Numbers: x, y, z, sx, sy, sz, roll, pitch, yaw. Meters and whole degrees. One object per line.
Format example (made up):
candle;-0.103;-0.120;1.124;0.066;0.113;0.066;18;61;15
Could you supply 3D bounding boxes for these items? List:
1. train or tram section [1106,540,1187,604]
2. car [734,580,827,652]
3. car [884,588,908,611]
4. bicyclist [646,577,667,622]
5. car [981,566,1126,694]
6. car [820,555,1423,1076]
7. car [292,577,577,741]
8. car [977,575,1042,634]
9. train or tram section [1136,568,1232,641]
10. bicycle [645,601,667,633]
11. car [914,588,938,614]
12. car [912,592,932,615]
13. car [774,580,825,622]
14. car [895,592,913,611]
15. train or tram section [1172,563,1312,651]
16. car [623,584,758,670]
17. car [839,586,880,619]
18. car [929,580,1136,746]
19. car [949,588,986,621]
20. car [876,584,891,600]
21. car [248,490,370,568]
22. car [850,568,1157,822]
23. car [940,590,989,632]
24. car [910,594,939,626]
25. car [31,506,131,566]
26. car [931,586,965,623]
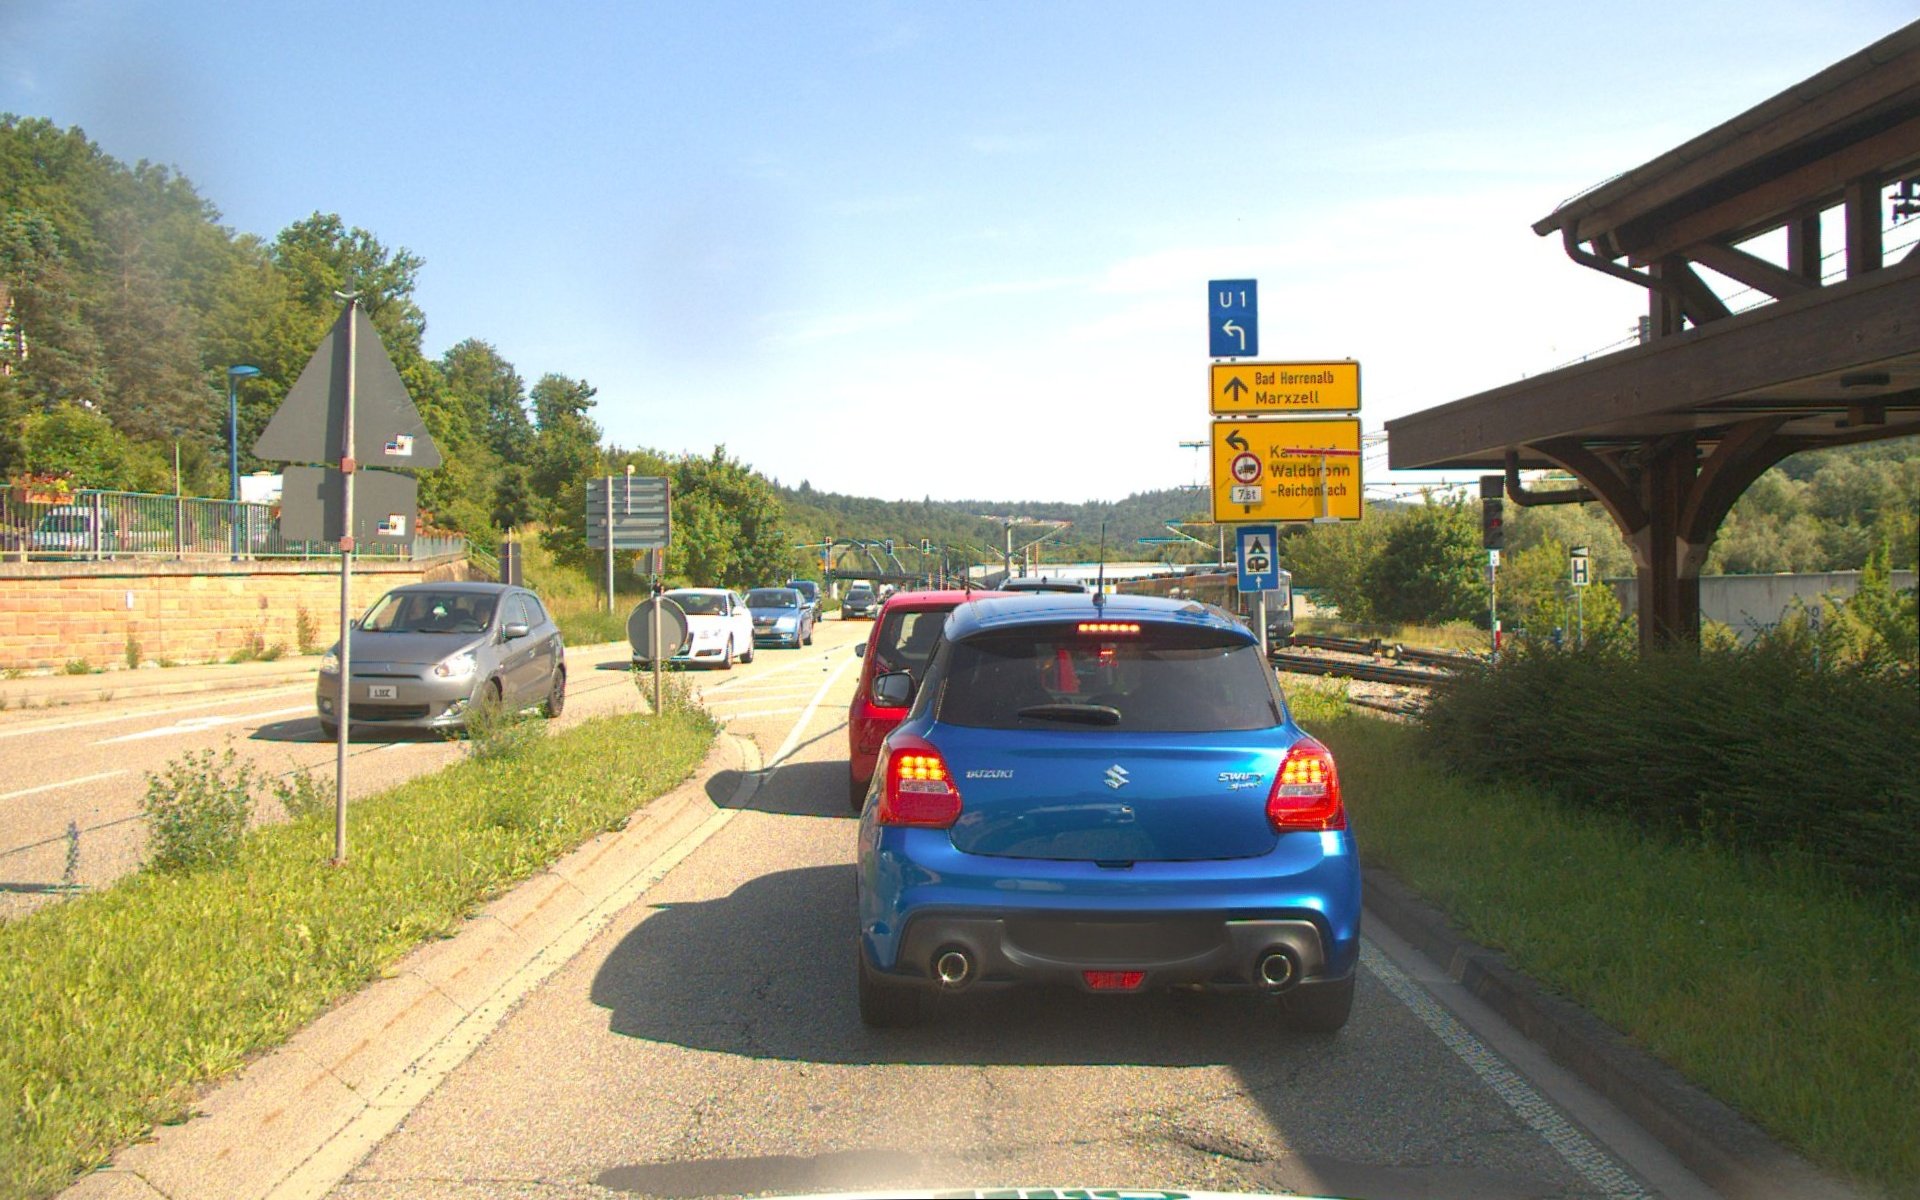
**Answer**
train or tram section;10.832;-1.550;97.334;2.701;3.423;12.041;2;0;-3
car;-4.368;0.352;40.717;1.795;1.493;3.812;2;3;1
car;-5.413;-0.044;140.026;1.953;1.814;3.999;1;0;-1
bicyclist;-10.690;-0.018;58.292;0.617;1.533;0.505;2;1;-4
car;1.322;0.395;25.177;1.952;1.716;4.497;2;1;1
car;0.446;0.642;7.033;1.830;1.575;3.999;1;0;-2
car;-5.215;0.532;16.938;1.637;1.466;3.840;1;0;1
car;1.548;0.120;53.076;1.952;1.766;4.000;2;1;1
train or tram section;11.413;0.205;85.526;2.731;3.423;12.041;2;0;-3
bicycle;-10.707;0.603;58.207;0.555;1.061;1.550;2;1;-4
car;-2.905;0.093;141.267;1.953;2.048;4.000;2;1;-1
car;-3.732;0.330;163.202;1.953;2.048;4.000;2;1;-1
car;-7.093;0.019;73.304;1.795;1.743;3.811;2;1;1
car;-6.460;0.168;189.984;1.953;2.048;4.000;2;1;-1
train or tram section;12.082;0.232;72.584;2.799;3.423;14.344;1;0;-4
car;-4.895;0.446;30.545;1.795;1.393;3.950;1;1;1
car;-4.907;0.093;80.989;1.795;1.456;3.810;2;1;-2
car;0.721;0.574;17.976;1.952;1.558;4.602;0;1;1
car;0.422;0.216;84.780;1.794;1.519;3.812;2;1;1
car;-10.843;-1.111;235.353;1.953;2.181;4.719;1;0;-1
car;-17.734;-1.912;45.289;1.982;1.953;4.724;2;1;-7
car;0.307;0.613;12.701;1.952;1.598;4.000;1;0;1
car;0.210;0.400;64.194;1.794;1.456;3.812;2;1;1
car;-2.494;0.682;116.669;1.953;2.048;4.000;2;1;-1
car;-26.152;-1.872;49.332;1.864;1.658;3.982;0;1;-16
car;-0.725;0.262;99.140;1.953;2.048;4.000;2;1;-1
